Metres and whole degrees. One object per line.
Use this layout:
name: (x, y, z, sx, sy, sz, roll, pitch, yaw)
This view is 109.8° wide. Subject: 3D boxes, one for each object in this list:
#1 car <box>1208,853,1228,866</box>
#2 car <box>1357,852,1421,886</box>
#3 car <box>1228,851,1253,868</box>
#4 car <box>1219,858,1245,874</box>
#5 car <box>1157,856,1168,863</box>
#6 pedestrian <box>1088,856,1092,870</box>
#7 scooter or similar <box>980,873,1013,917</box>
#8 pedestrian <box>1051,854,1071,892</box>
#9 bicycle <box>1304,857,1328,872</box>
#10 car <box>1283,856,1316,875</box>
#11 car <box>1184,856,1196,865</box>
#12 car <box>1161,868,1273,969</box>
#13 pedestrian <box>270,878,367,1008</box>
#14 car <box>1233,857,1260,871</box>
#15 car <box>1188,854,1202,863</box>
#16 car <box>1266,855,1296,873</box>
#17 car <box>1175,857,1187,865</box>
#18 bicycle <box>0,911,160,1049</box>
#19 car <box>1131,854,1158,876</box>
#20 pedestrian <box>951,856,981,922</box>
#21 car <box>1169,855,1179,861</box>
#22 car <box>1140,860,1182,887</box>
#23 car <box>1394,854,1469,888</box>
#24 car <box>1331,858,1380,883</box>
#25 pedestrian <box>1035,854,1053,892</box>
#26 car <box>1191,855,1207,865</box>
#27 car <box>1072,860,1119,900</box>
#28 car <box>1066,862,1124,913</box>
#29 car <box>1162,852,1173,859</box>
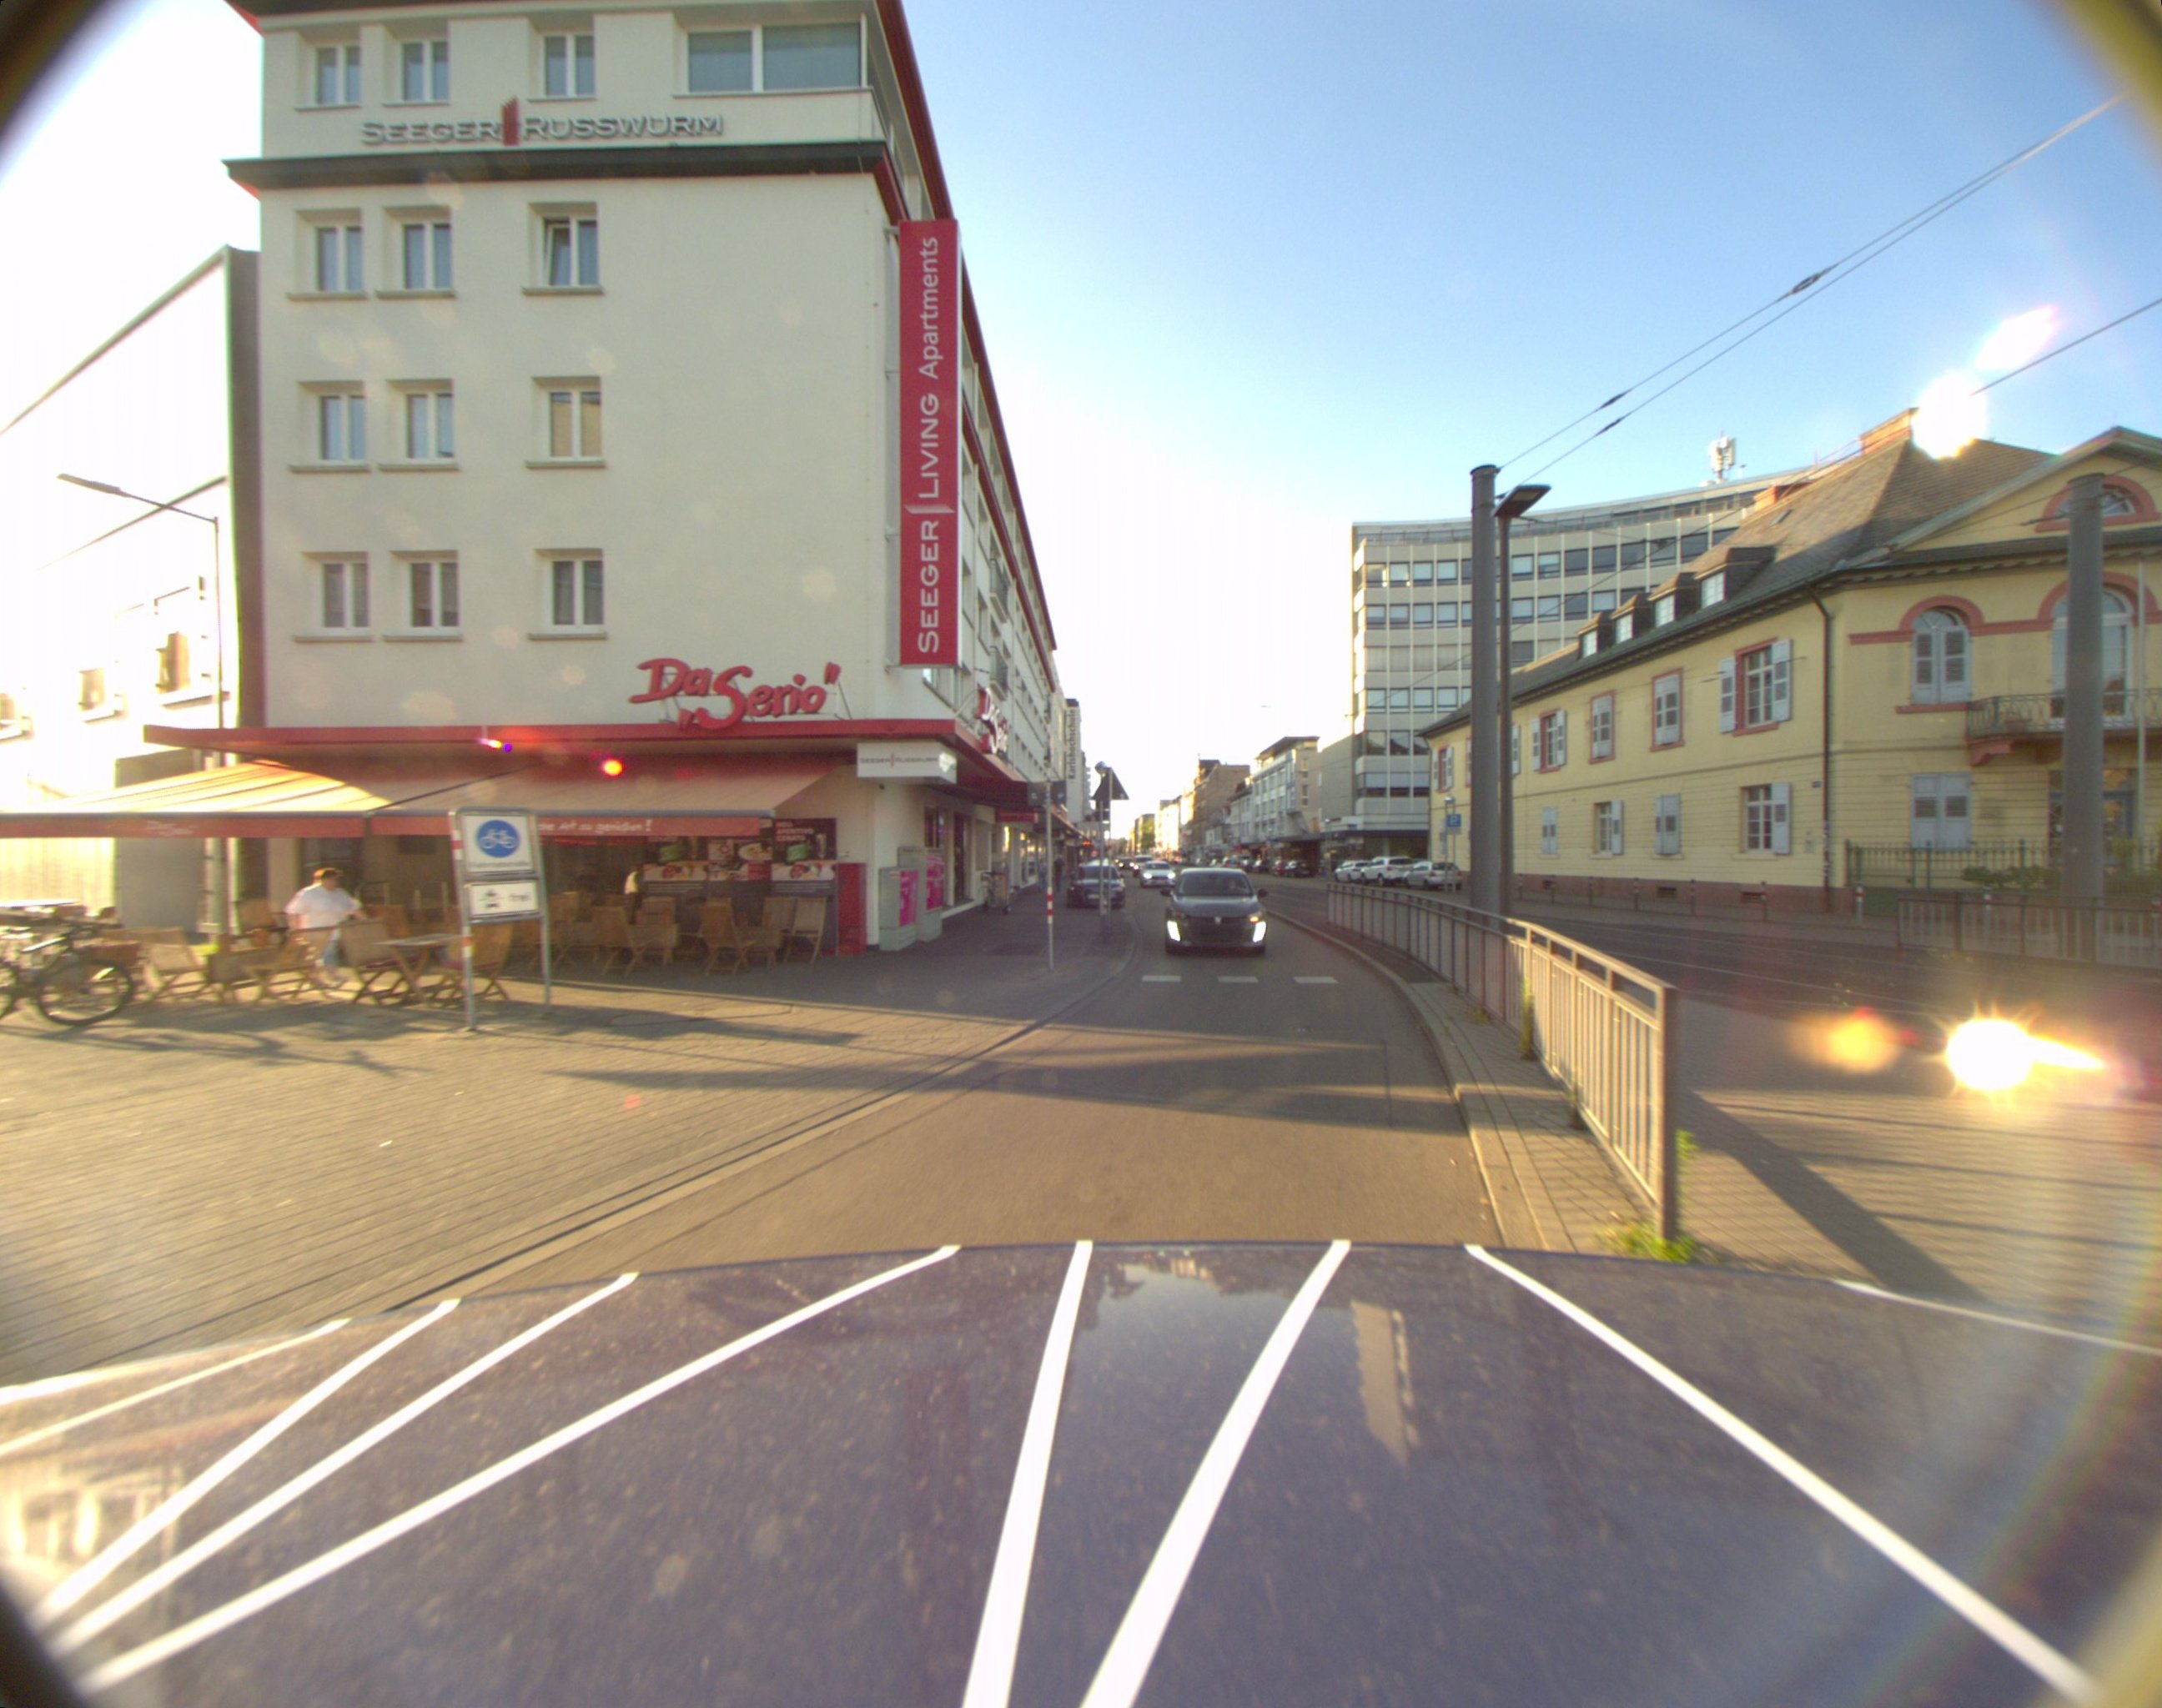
car: (16.080, 0.658, 89.409, 1.810, 1.503, 4.036, 1, 0, 3)
car: (17.514, 0.815, 43.462, 1.817, 1.775, 4.497, -3, 0, 0)
car: (19.351, 0.647, 92.421, 1.960, 1.965, 5.163, 0, 0, 1)
car: (15.253, 1.184, 76.937, 1.740, 1.503, 4.034, 0, 0, -2)
car: (18.720, 1.297, 174.631, 1.998, 1.543, 4.000, 0, 0, 2)
pedestrian: (1.370, 1.370, 116.418, 0.711, 2.002, 0.824, 0, 0, 1)
scooter or similar: (-2.405, 1.135, 21.462, 0.357, 1.195, 1.246, -1, 0, -36)
pedestrian: (-0.903, 0.873, 34.697, 0.829, 1.708, 0.843, 1, 0, 2)
bicycle: (22.333, 1.017, 72.256, 1.973, 1.417, 0.834, 0, 0, 0)
car: (18.238, 0.909, 63.581, 1.690, 1.503, 4.215, -1, 0, 2)
car: (21.164, 1.258, 147.535, 1.998, 1.543, 4.000, 0, 0, 2)
car: (2.475, 1.084, 14.269, 1.731, 1.513, 4.336, -1, 0, 8)
pedestrian: (-9.393, 1.077, 9.379, 0.572, 1.532, 0.574, -1, 1, 1)
car: (18.443, 1.134, 84.876, 1.998, 1.457, 4.558, -1, 0, 1)
car: (19.886, 0.858, 132.880, 1.913, 1.535, 4.553, 0, 0, 2)
car: (18.035, 0.890, 68.593, 1.689, 1.503, 4.215, 4, 0, 2)
car: (21.041, 1.409, 159.615, 1.998, 1.543, 4.207, 0, 0, 2)
bicycle: (-10.876, 1.253, 7.800, 2.110, 1.280, 0.704, 0, 1, 5)
car: (5.457, 0.923, 65.314, 1.998, 1.805, 4.000, 0, 0, 0)
pedestrian: (-3.121, 0.933, 20.563, 0.605, 1.750, 0.525, -1, 1, -43)
car: (22.235, 0.905, 181.162, 1.998, 1.543, 4.000, 0, 0, 2)
car: (4.382, 1.051, 42.336, 1.998, 1.450, 4.000, 0, 0, 1)
car: (17.544, 0.801, 38.286, 1.817, 1.608, 4.214, 0, 0, -1)
car: (17.878, 1.035, 49.685, 1.816, 1.503, 4.433, 0, 0, 3)
pedestrian: (-1.698, 0.855, 35.192, 0.730, 1.731, 0.863, 1, 0, 2)
car: (19.700, 0.985, 126.967, 1.998, 1.535, 4.879, -1, 0, 2)
car: (0.639, 1.024, 31.869, 1.789, 1.503, 4.052, 1, 0, 2)
car: (0.518, 1.062, 25.835, 1.739, 1.503, 4.686, 1, 0, 2)
car: (18.880, 0.408, 166.182, 1.998, 1.543, 4.000, 0, 0, 2)
